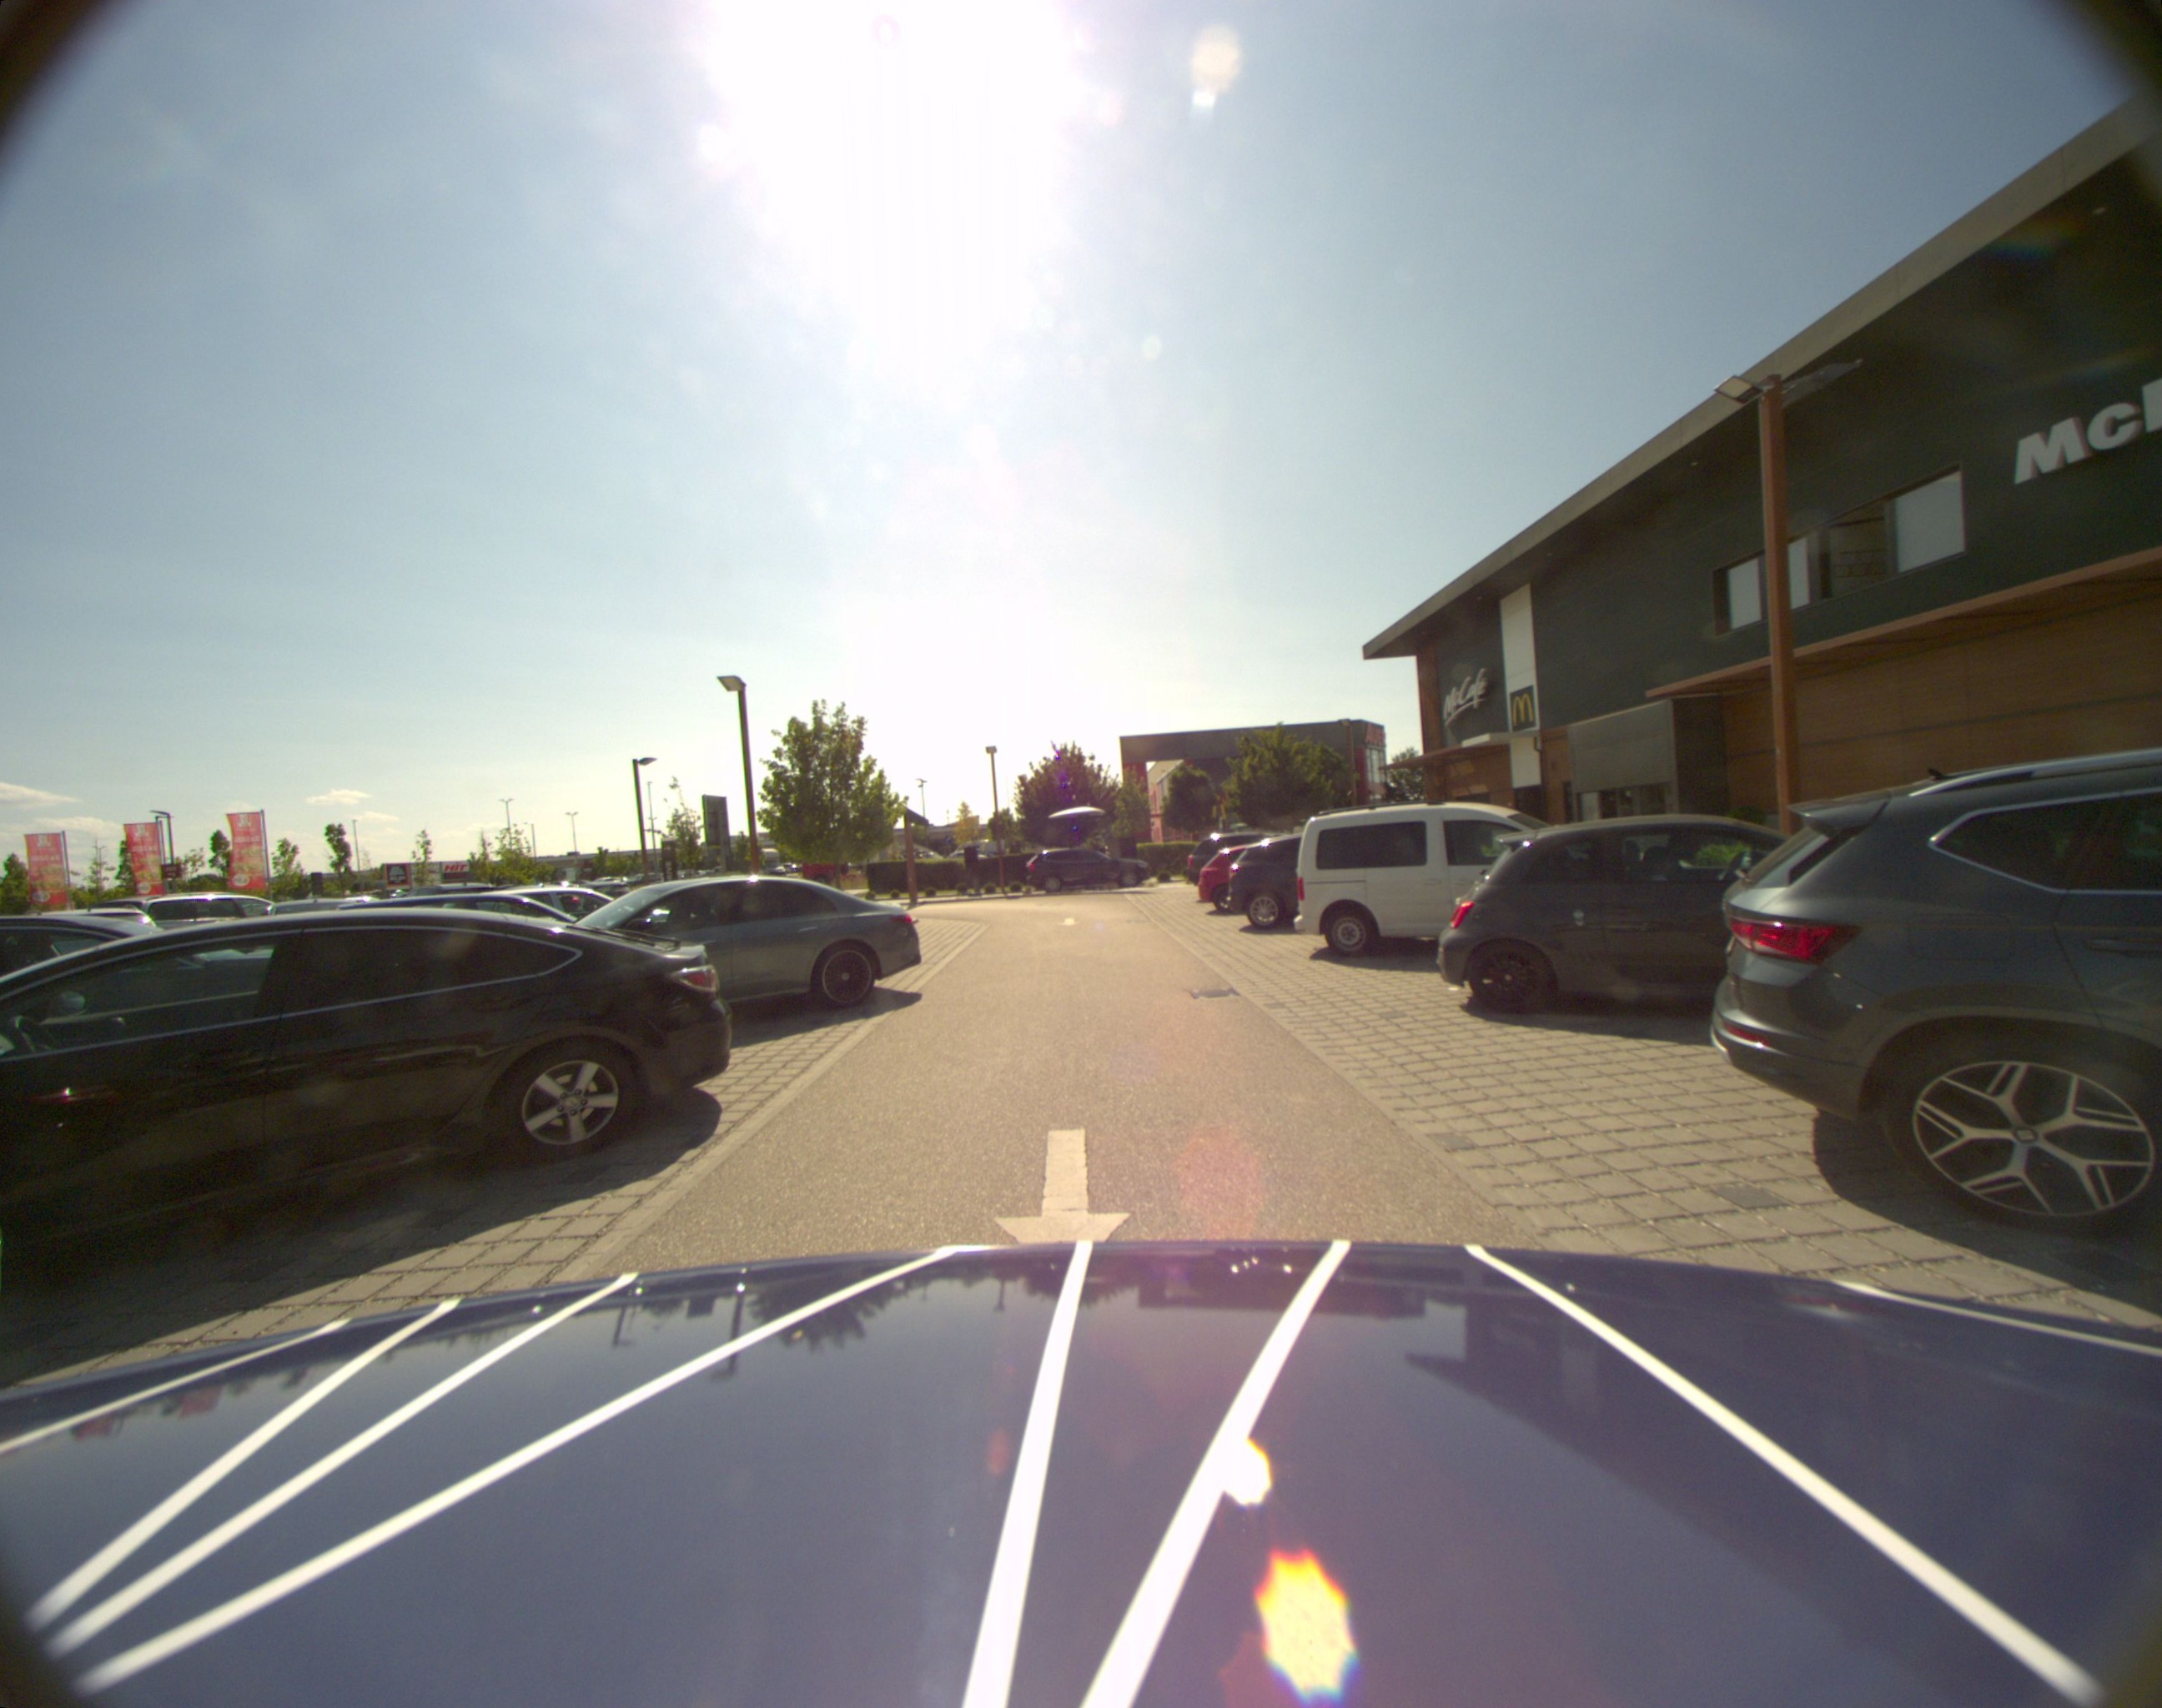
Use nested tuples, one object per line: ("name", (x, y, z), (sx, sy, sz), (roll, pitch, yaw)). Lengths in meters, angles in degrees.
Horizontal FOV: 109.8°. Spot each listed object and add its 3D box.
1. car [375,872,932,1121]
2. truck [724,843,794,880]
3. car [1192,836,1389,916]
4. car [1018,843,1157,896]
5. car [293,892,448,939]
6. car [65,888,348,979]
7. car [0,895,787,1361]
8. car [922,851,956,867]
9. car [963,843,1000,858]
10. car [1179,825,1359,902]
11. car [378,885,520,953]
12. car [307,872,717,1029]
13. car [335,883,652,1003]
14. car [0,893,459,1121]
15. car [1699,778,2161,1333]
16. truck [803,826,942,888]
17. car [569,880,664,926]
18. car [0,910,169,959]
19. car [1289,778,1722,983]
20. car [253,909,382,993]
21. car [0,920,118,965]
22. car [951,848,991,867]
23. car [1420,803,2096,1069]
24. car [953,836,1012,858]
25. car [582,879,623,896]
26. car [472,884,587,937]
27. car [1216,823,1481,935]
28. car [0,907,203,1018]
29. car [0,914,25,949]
("car", (-4.036, 1.114, 7.787), (4.550, 1.502, 1.882), (-4, 1, -45))
("truck", (-32.417, 0.800, 76.337), (7.546, 3.333, 2.426), (-3, 2, 33))
("car", (4.537, 0.495, 16.519), (3.764, 1.435, 1.677), (-4, 0, 28))
("car", (0.212, 0.580, 29.005), (5.062, 1.620, 1.924), (-4, 1, -2))
("car", (-27.982, 2.377, 30.148), (1.886, 1.390, 4.156), (-4, 1, 7))
("car", (-22.112, 1.917, 19.566), (2.071, 1.740, 4.367), (-4, 1, 1))
("car", (-4.008, 1.121, 4.032), (1.824, 1.440, 4.083), (-3, 1, 45))
("car", (-18.216, 0.596, 97.677), (1.889, 1.718, 4.264), (-3, 1, 31))
("car", (-11.247, -0.400, 86.338), (3.905, 1.334, 1.665), (-4, 1, -1))
("car", (4.742, 0.275, 19.460), (4.029, 1.696, 1.678), (-4, 1, 37))
("car", (-17.071, 1.720, 20.470), (4.044, 1.547, 1.810), (-3, 1, 34))
("car", (-8.012, 1.196, 11.046), (4.425, 1.502, 1.978), (-4, 1, -45))
("car", (-9.614, 1.338, 12.670), (3.910, 1.418, 1.702), (-4, 1, -43))
("car", (-8.638, 1.300, 6.863), (4.425, 1.502, 1.978), (-4, 1, -45))
("car", (4.603, 0.491, 2.128), (4.217, 1.594, 1.793), (-6, 1, 44))
("truck", (-15.135, 0.181, 55.741), (9.124, 3.844, 3.209), (-4, 1, -1))
("car", (-16.957, 1.766, 27.672), (3.765, 1.414, 1.917), (-3, 1, 43))
("car", (-40.195, 3.210, 30.775), (1.685, 1.445, 3.756), (-4, 1, 7))
("car", (4.864, 0.300, 9.051), (4.134, 1.910, 1.761), (-3, 1, 39))
("car", (-16.873, 2.012, 16.715), (4.670, 1.403, 1.715), (-3, 1, 42))
("car", (-44.231, 3.769, 32.229), (1.685, 1.445, 3.756), (-4, 1, 7))
("car", (-11.771, 0.382, 81.223), (3.998, 1.718, 1.893), (-4, 1, -5))
("car", (4.651, 0.511, 5.830), (3.406, 1.473, 1.571), (-4, 1, 36))
("car", (-11.543, -0.821, 89.297), (6.567, 2.231, 2.300), (-4, 1, -1))
("car", (-50.943, 3.548, 80.924), (1.537, 1.547, 3.225), (-3, 1, 27))
("car", (-17.628, 1.781, 24.222), (4.076, 1.414, 1.801), (-3, 1, 37))
("car", (4.476, 0.440, 12.866), (3.834, 1.622, 1.761), (-3, 1, 33))
("car", (-17.438, 1.807, 13.385), (4.341, 1.503, 1.782), (-3, 1, 31))
("car", (-50.137, 3.624, 33.497), (1.685, 1.503, 3.756), (-4, 1, 7))
